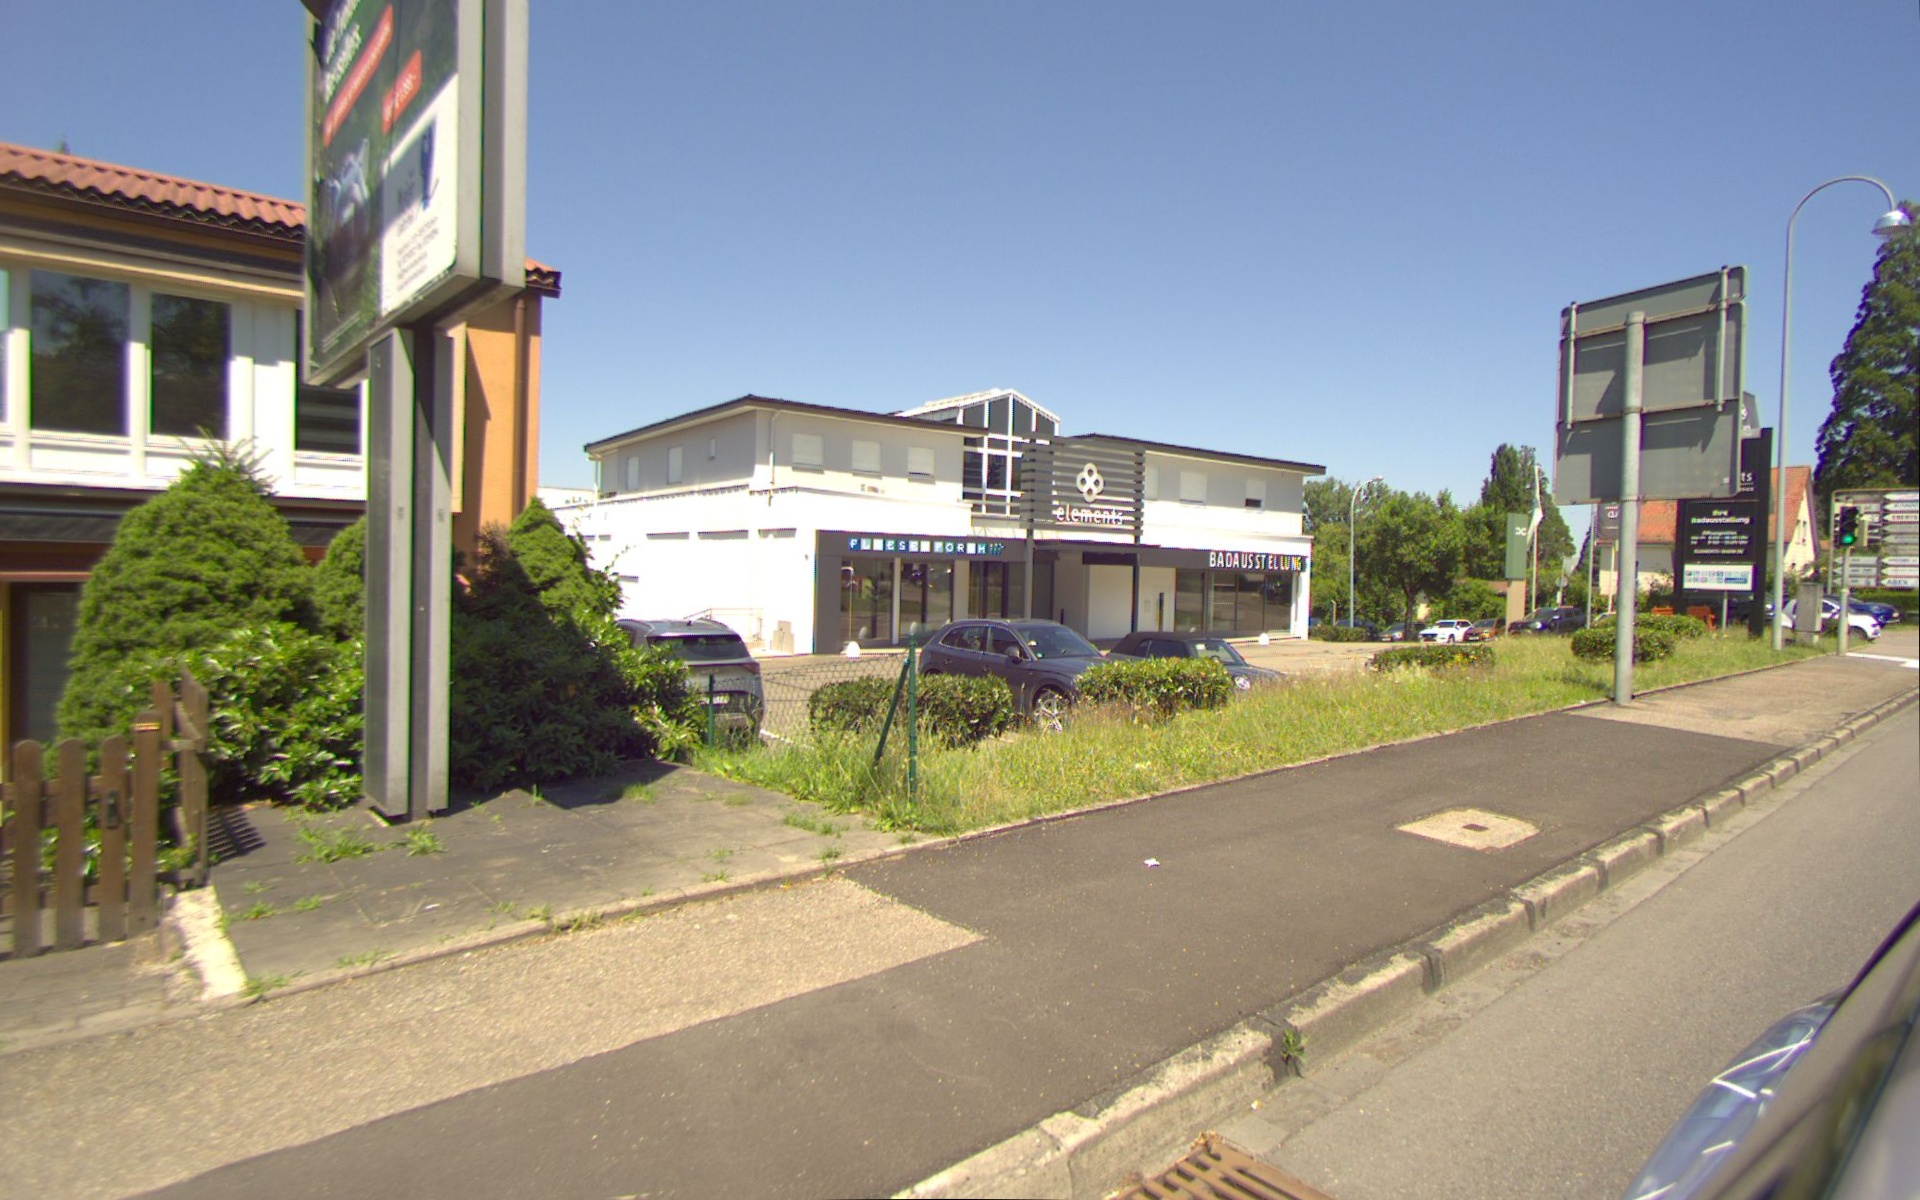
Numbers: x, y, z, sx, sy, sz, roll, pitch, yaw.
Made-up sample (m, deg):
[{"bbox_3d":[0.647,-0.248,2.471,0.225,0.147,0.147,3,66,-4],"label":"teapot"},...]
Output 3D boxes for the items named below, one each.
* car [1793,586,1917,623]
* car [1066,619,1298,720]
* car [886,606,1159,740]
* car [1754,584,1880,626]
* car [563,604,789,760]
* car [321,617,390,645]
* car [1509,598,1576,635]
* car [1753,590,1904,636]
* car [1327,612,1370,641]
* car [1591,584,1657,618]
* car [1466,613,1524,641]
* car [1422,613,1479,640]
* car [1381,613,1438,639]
[{"bbox_3d":[37.280,0.167,42.223,1.597,1.400,3.638,-1,2,-38],"label":"car"},{"bbox_3d":[3.885,1.153,18.232,1.597,1.400,3.976,-1,2,-38],"label":"car"},{"bbox_3d":[0.850,1.033,16.500,1.850,1.684,4.606,-1,2,-38],"label":"car"},{"bbox_3d":[34.635,0.149,40.977,1.597,1.570,3.638,-1,2,-38],"label":"car"},{"bbox_3d":[-4.102,0.971,14.104,1.847,1.661,4.245,0,2,-33],"label":"car"},{"bbox_3d":[-40.986,2.076,68.632,3.856,1.711,1.723,-1,0,-37],"label":"car"},{"bbox_3d":[27.927,0.747,48.503,3.635,1.665,1.697,-1,1,-41],"label":"car"},{"bbox_3d":[29.281,0.399,34.201,1.597,1.400,3.638,-1,2,-38],"label":"car"},{"bbox_3d":[21.727,1.469,56.746,1.840,1.527,3.980,-1,0,16],"label":"car"},{"bbox_3d":[34.439,0.039,52.461,3.629,1.665,1.699,0,1,-36],"label":"car"},{"bbox_3d":[31.129,1.566,58.860,3.634,1.452,1.776,0,2,-41],"label":"car"},{"bbox_3d":[29.716,1.589,61.264,3.634,1.452,1.835,0,2,-41],"label":"car"},{"bbox_3d":[27.982,1.579,62.981,3.633,1.452,1.776,0,2,-39],"label":"car"}]
